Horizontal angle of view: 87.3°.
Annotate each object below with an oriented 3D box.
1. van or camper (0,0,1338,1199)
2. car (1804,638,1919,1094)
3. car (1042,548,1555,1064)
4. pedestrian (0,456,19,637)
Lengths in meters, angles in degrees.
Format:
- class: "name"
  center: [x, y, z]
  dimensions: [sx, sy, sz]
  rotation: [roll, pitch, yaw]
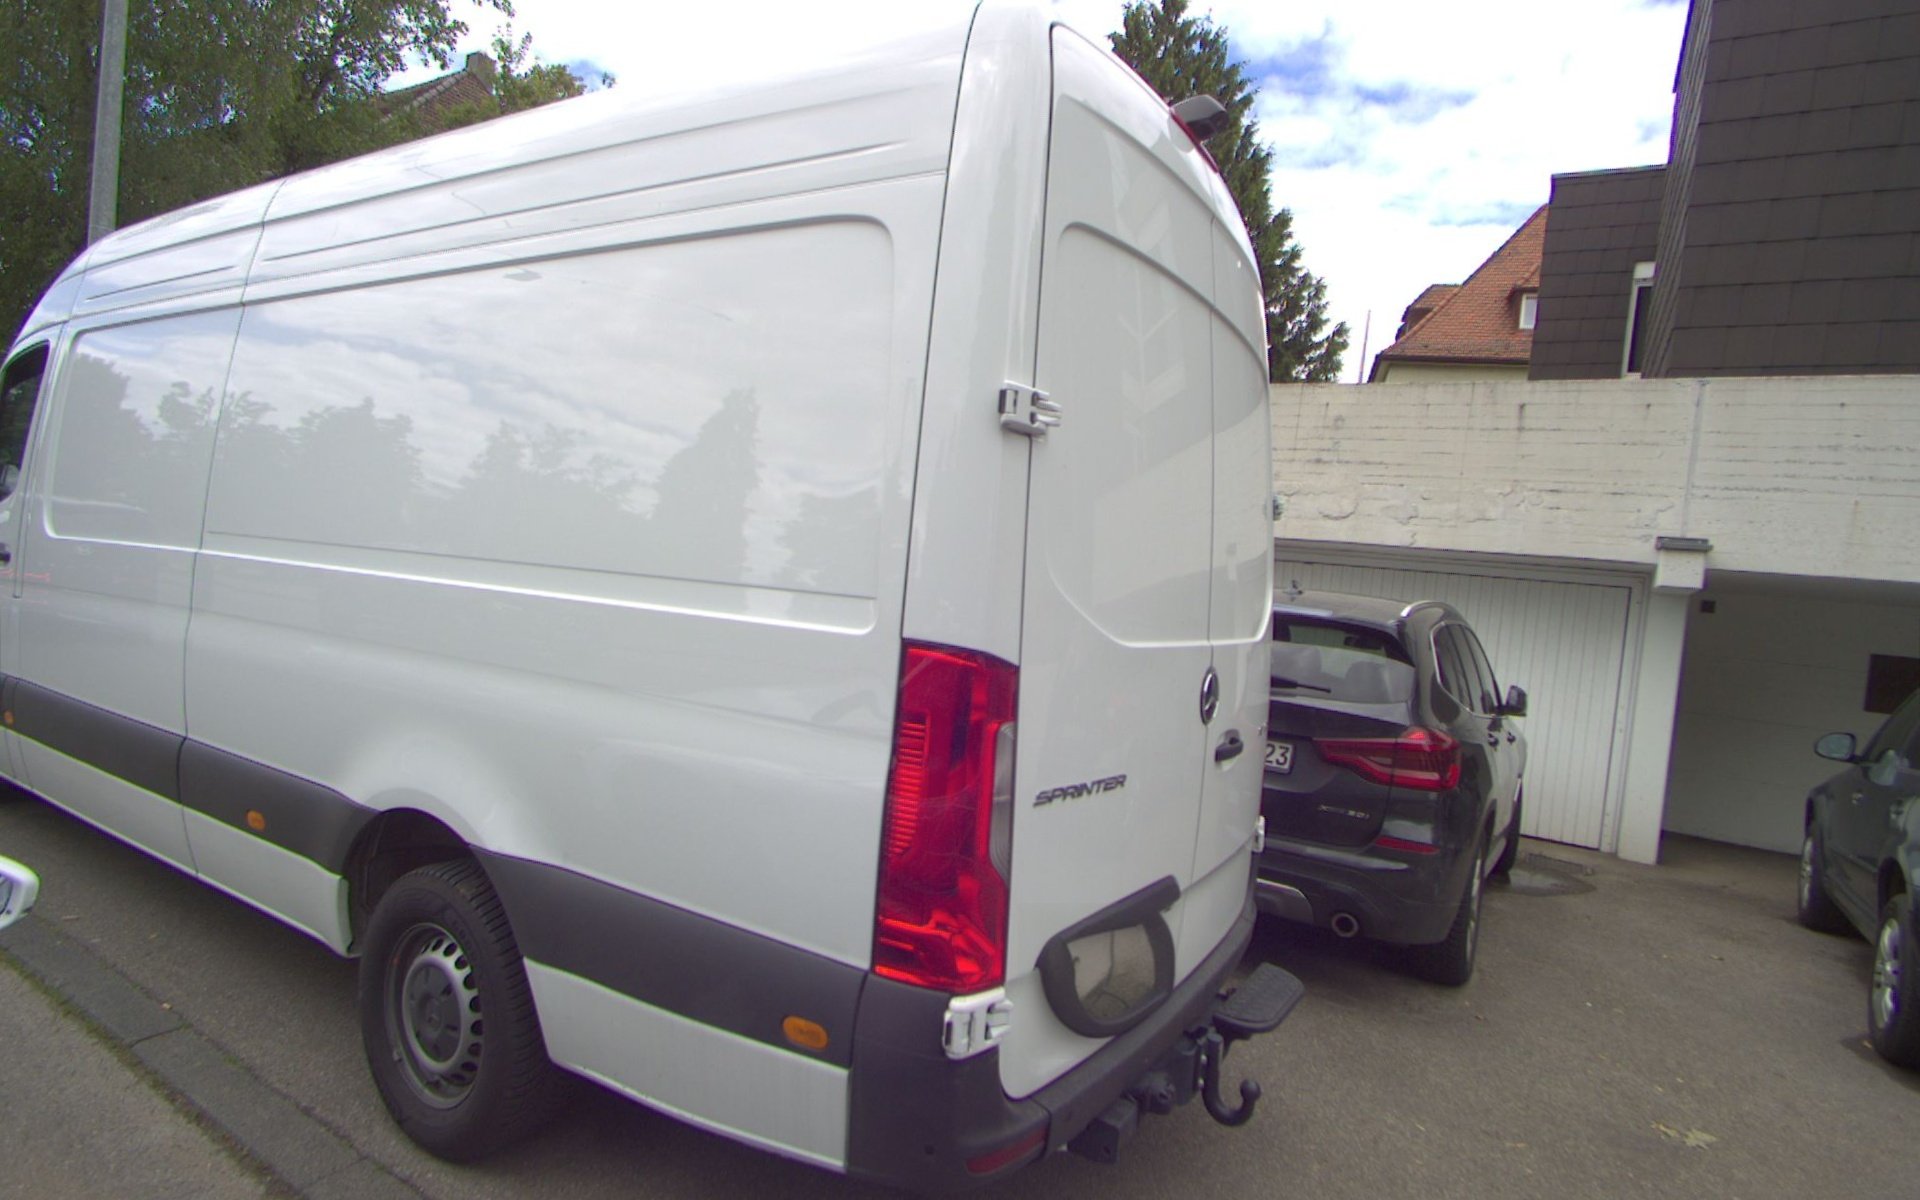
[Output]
- class: "van or camper"
  center: [-2.157, -0.157, 4.056]
  dimensions: [6.436, 2.661, 1.990]
  rotation: [6, 3, 32]
- class: "car"
  center: [5.205, 1.110, 4.498]
  dimensions: [1.717, 1.672, 3.899]
  rotation: [6, 1, 35]
- class: "car"
  center: [2.292, 0.800, 5.766]
  dimensions: [1.668, 1.696, 4.384]
  rotation: [6, 1, 32]
- class: "pedestrian"
  center: [-9.852, -0.562, 9.844]
  dimensions: [0.643, 1.773, 0.649]
  rotation: [6, 1, 25]
